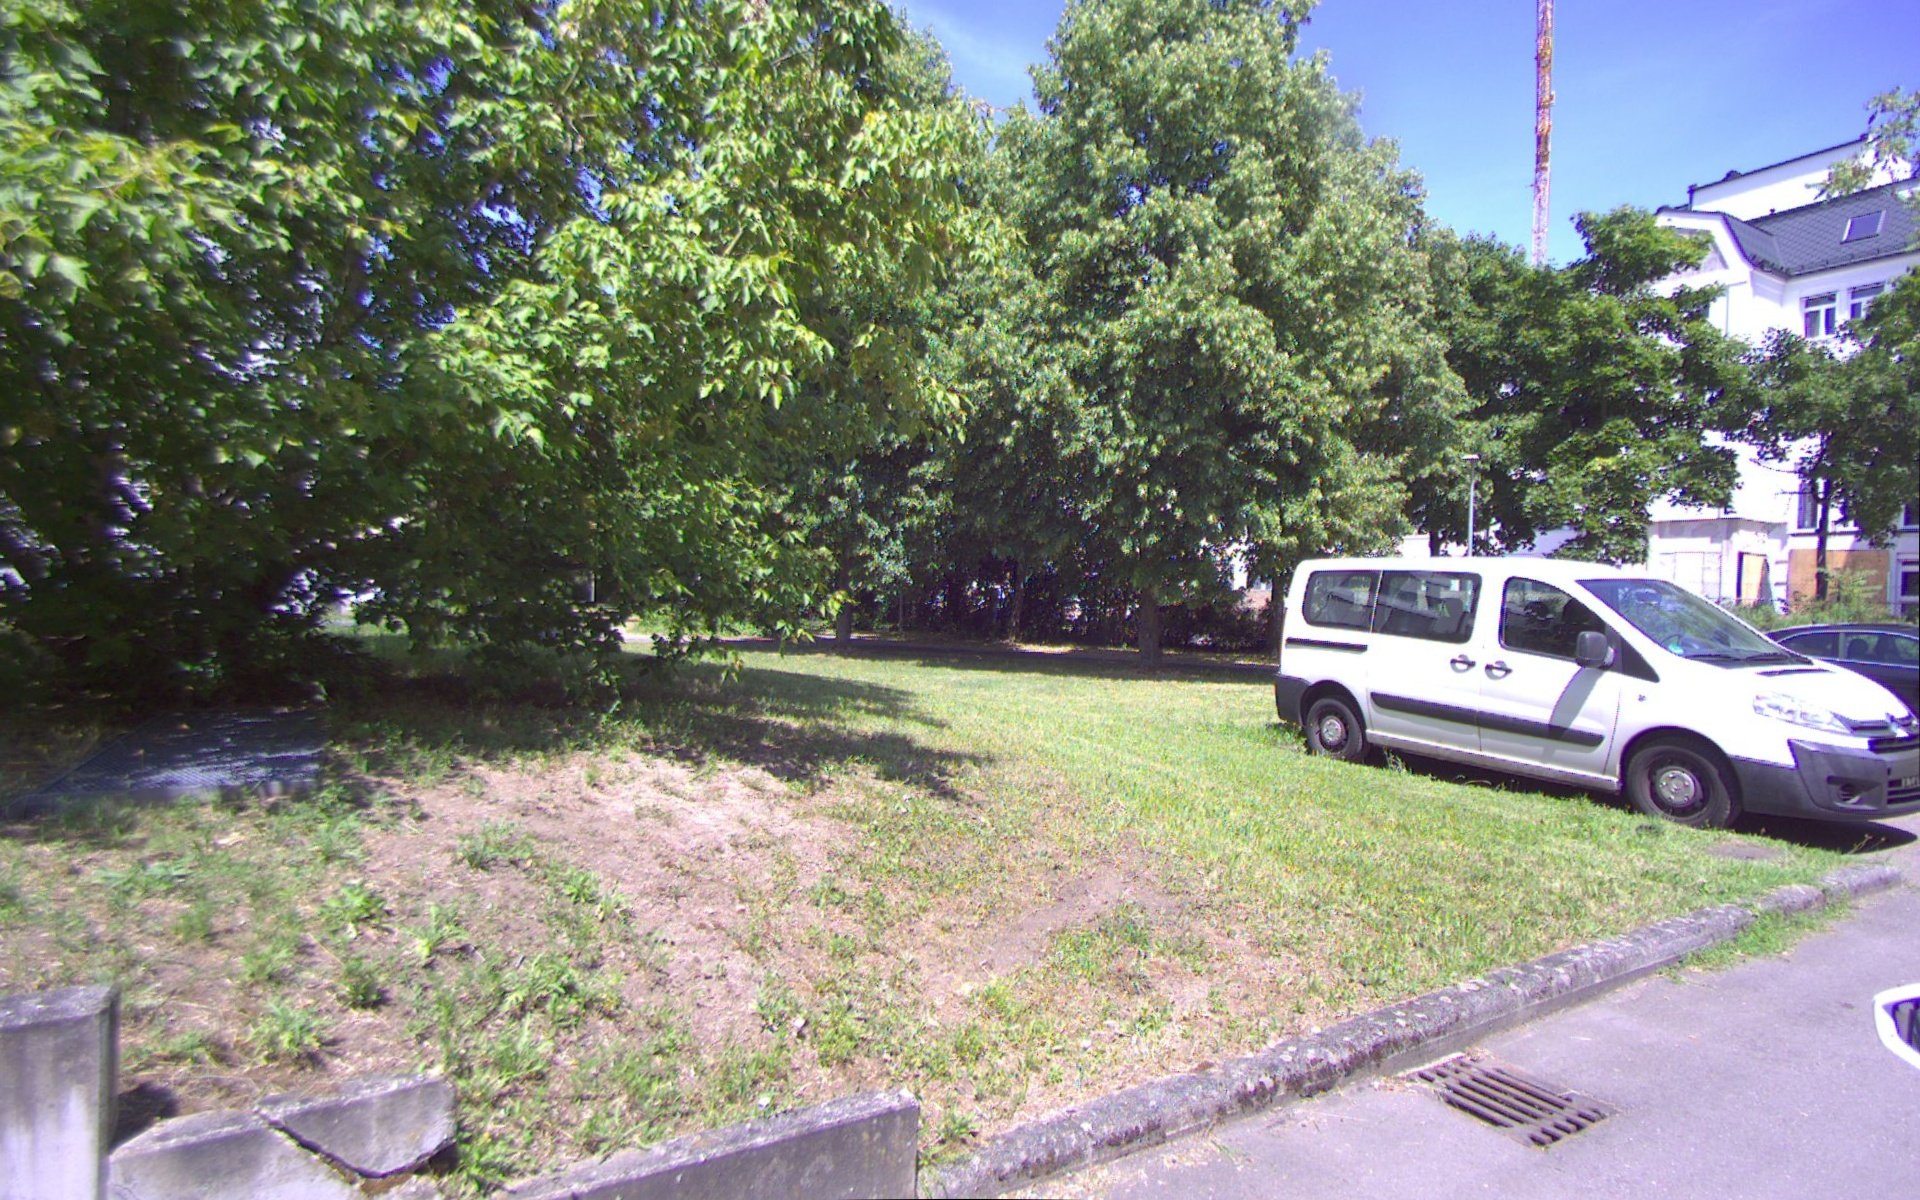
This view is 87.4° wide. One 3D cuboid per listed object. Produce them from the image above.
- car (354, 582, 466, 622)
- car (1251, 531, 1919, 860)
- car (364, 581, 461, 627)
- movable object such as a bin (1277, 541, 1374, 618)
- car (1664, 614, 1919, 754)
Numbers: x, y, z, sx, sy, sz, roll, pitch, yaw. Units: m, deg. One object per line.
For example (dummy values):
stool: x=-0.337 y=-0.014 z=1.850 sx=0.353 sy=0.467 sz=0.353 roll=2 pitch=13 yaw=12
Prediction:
car: x=-24.781 y=0.106 z=45.286 sx=4.294 sy=1.631 sz=1.916 roll=2 pitch=0 yaw=-33
car: x=4.969 y=0.560 z=8.454 sx=2.042 sy=1.908 sz=4.828 roll=2 pitch=0 yaw=-28
car: x=-26.501 y=0.205 z=48.627 sx=3.957 sy=2.040 sz=1.982 roll=2 pitch=0 yaw=-33
movable object such as a bin: x=22.120 y=-1.216 z=61.055 sx=1.974 sy=4.430 sz=5.685 roll=2 pitch=0 yaw=-26
car: x=10.797 y=0.940 z=11.187 sx=1.998 sy=1.398 sz=4.412 roll=2 pitch=0 yaw=-28
